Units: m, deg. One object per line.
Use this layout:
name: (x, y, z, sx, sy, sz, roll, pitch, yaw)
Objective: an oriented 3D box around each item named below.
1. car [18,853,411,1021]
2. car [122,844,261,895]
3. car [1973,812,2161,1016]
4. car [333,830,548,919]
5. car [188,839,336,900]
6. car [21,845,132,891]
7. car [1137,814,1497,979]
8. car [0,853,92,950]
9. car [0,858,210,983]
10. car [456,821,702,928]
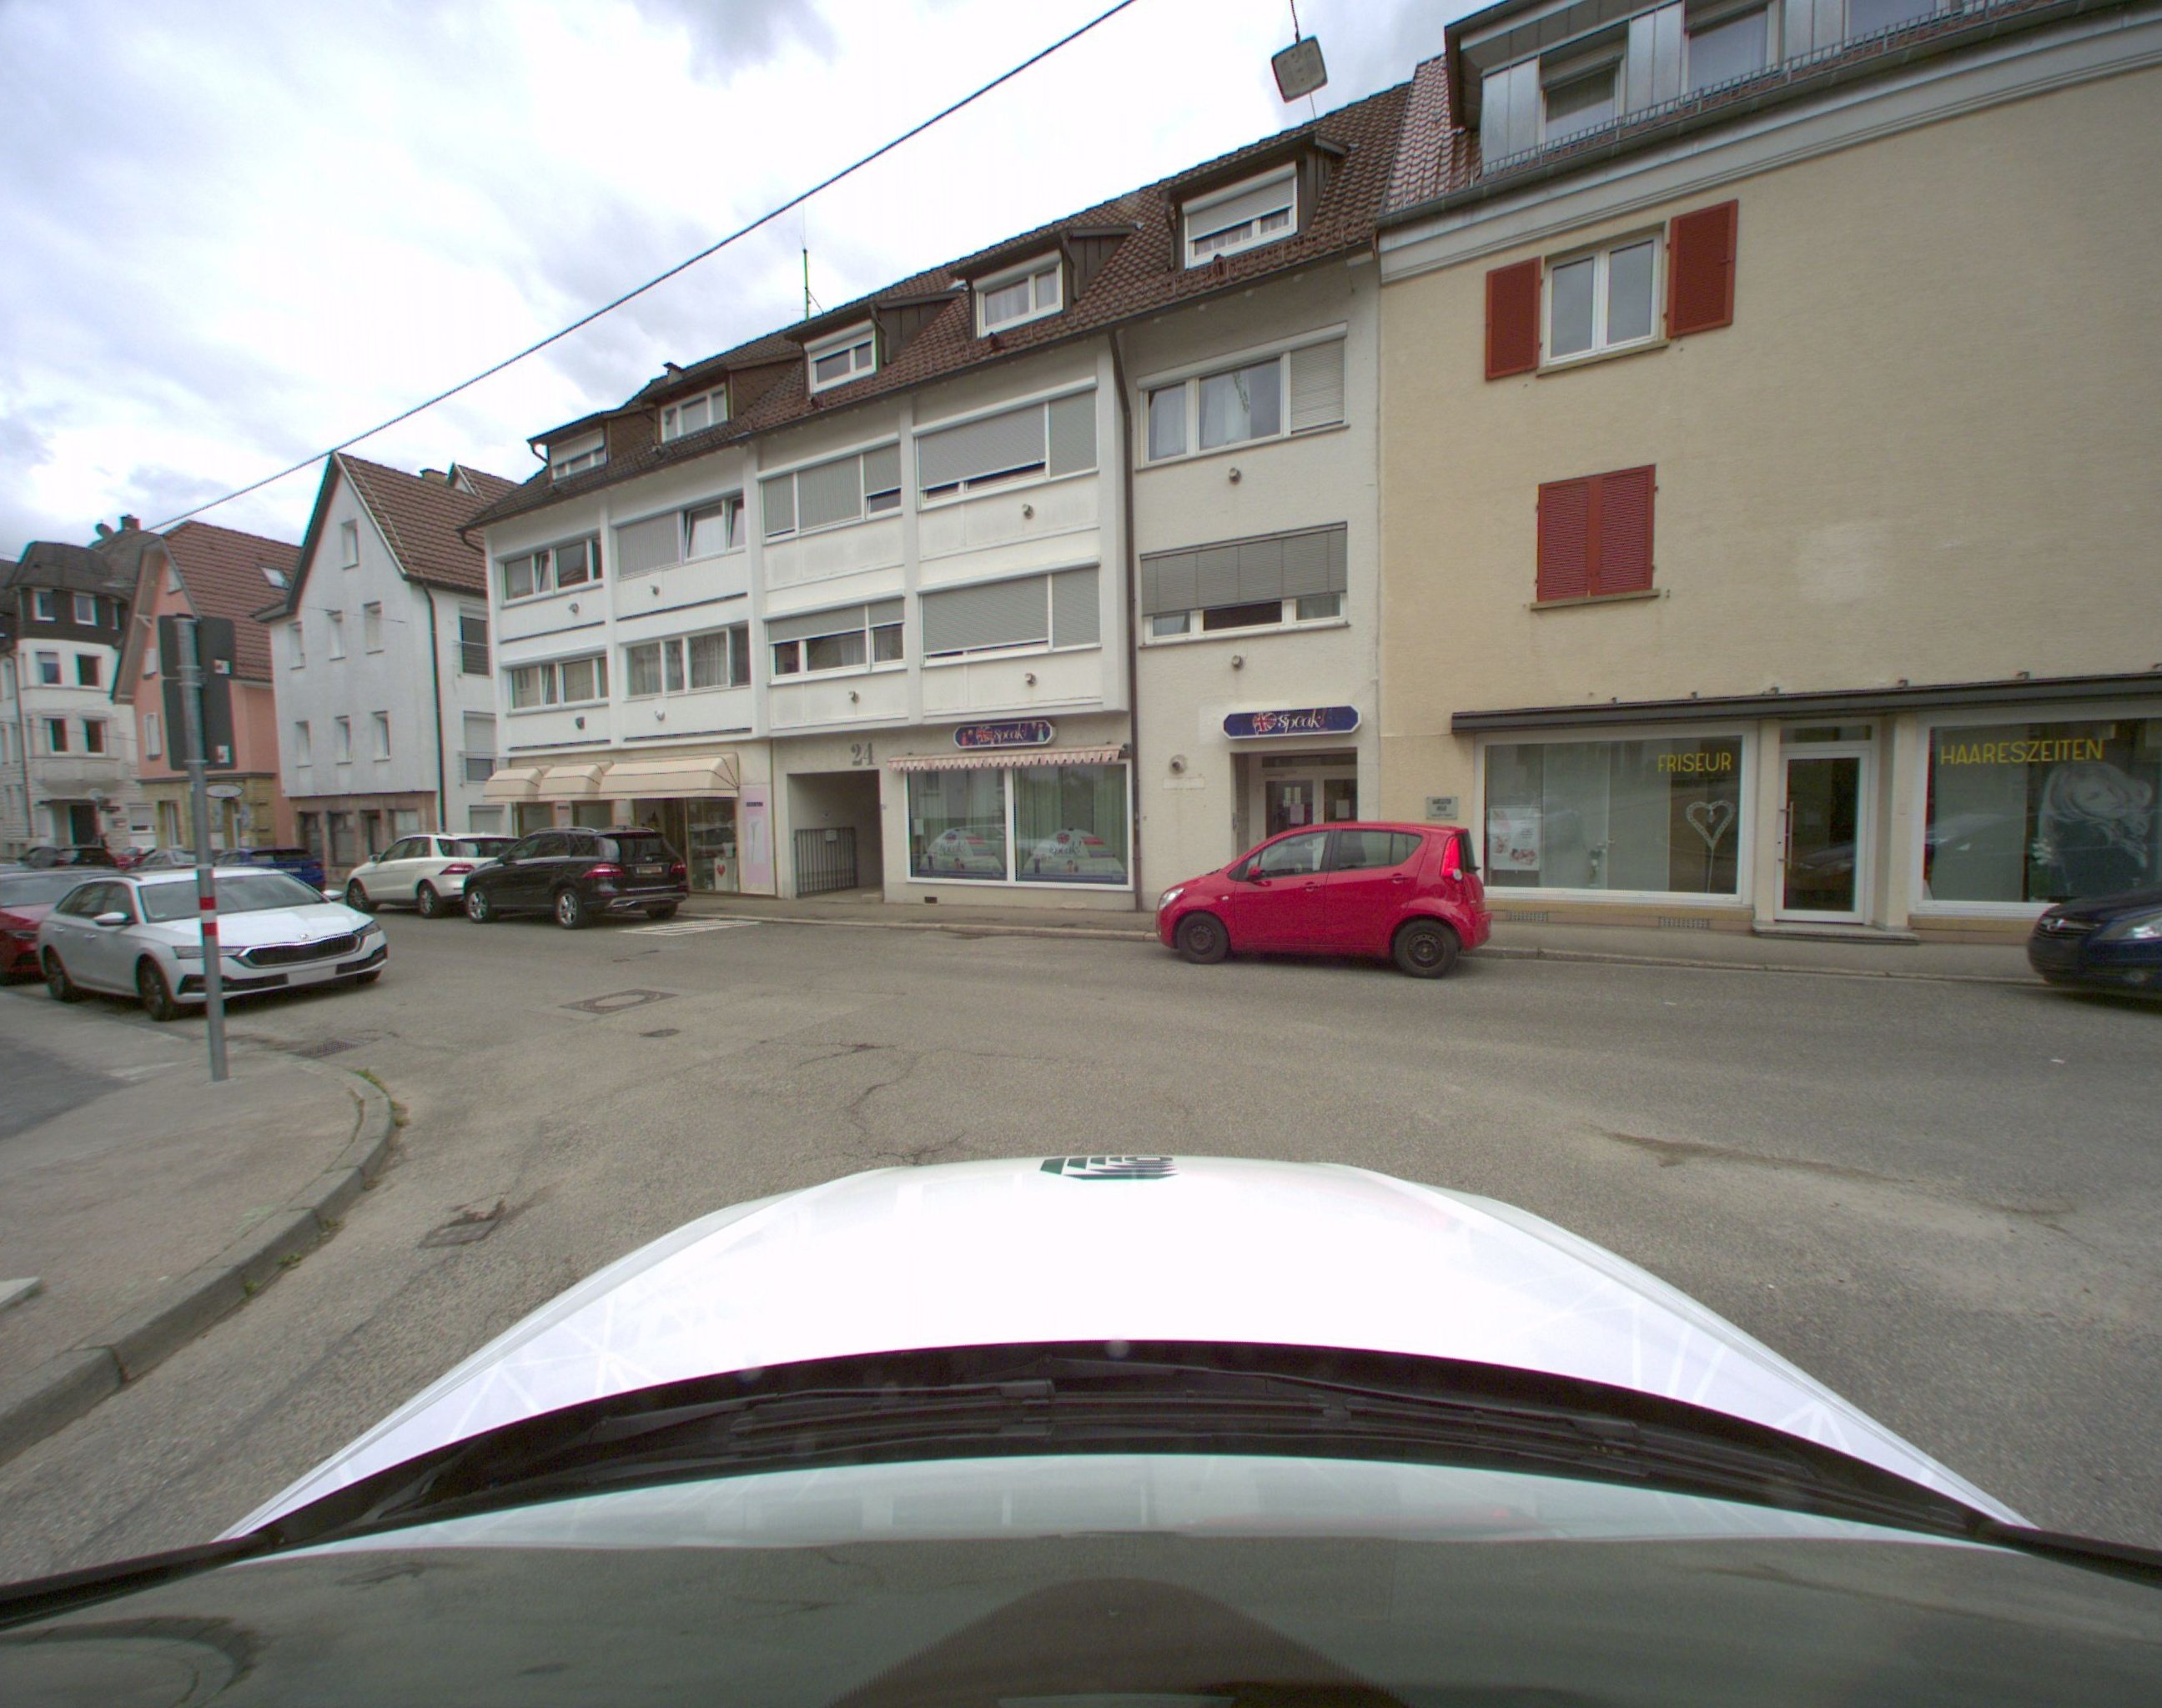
car: (-10.137, 0.825, 9.516, 4.242, 1.460, 1.810, -1, 5, 25)
car: (-26.968, 0.438, 24.680, 3.981, 1.390, 1.765, 0, 2, 26)
car: (9.477, 0.412, 5.794, 3.870, 1.450, 1.707, 0, 0, 28)
car: (-13.964, 0.369, 17.751, 4.322, 1.711, 1.952, 0, 3, 27)
car: (-22.639, 0.397, 22.496, 3.734, 1.474, 1.791, 0, 3, 28)
car: (-36.472, 0.460, 29.553, 3.754, 1.549, 1.728, 0, 1, 26)
car: (2.671, 0.398, 9.323, 3.648, 1.556, 1.708, 0, 1, 29)
car: (-19.490, 0.833, 14.312, 3.931, 1.494, 1.786, 0, 5, 28)
car: (-14.907, 0.856, 11.907, 4.119, 1.417, 1.786, -1, 5, 27)
car: (-9.522, 0.344, 15.414, 4.313, 1.779, 1.959, -1, 1, 27)
